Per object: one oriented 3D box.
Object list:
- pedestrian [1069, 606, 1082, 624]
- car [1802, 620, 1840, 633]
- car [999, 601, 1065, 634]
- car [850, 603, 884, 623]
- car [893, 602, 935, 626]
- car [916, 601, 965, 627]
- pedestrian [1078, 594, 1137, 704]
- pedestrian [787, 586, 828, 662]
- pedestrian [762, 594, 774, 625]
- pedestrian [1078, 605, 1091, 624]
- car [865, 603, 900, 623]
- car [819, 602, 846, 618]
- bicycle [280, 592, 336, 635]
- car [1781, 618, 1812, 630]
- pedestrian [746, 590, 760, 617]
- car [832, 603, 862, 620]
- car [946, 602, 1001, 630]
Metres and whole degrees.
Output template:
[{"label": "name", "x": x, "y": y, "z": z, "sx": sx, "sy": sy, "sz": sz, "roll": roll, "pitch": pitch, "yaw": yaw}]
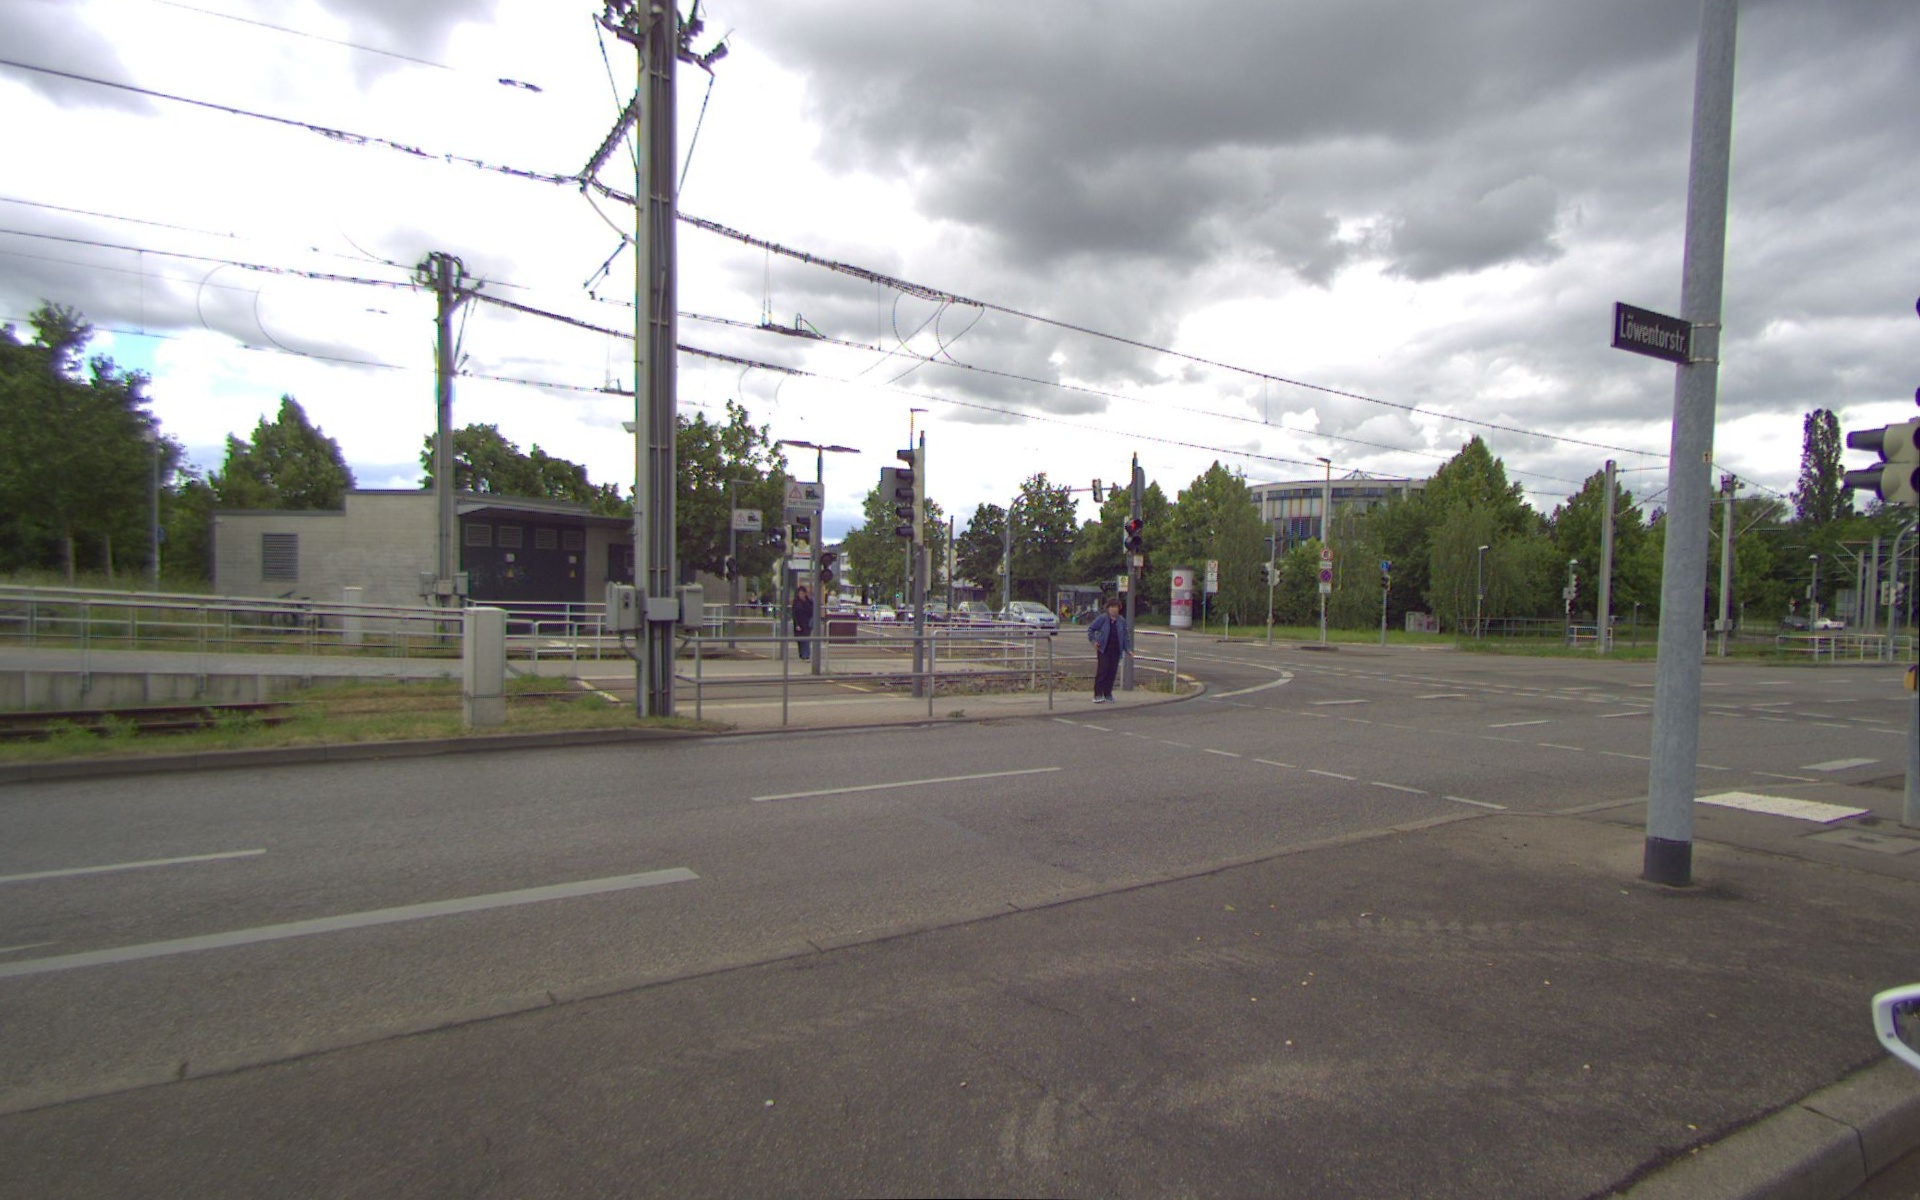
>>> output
[{"label": "pedestrian", "x": 8.385, "y": 1.078, "z": 72.859, "sx": 0.652, "sy": 1.321, "sz": 0.780, "roll": 1, "pitch": 0, "yaw": -16}, {"label": "car", "x": 115.627, "y": 3.545, "z": 134.890, "sx": 1.748, "sy": 1.567, "sz": 4.025, "roll": 1, "pitch": 0, "yaw": 2}, {"label": "car", "x": 3.311, "y": 0.799, "z": 46.813, "sx": 1.706, "sy": 1.456, "sz": 3.731, "roll": 1, "pitch": 0, "yaw": -20}, {"label": "car", "x": -7.409, "y": 1.019, "z": 79.688, "sx": 1.706, "sy": 1.456, "sz": 3.991, "roll": 1, "pitch": 0, "yaw": -20}, {"label": "car", "x": -2.995, "y": 0.886, "z": 64.935, "sx": 1.706, "sy": 1.456, "sz": 3.731, "roll": 1, "pitch": 0, "yaw": -20}, {"label": "car", "x": -1.141, "y": 0.814, "z": 58.168, "sx": 1.706, "sy": 1.456, "sz": 3.731, "roll": 1, "pitch": 0, "yaw": -20}, {"label": "pedestrian", "x": 2.189, "y": 0.705, "z": 14.912, "sx": 0.701, "sy": 1.584, "sz": 0.533, "roll": 1, "pitch": 1, "yaw": -44}, {"label": "pedestrian", "x": -3.322, "y": 0.511, "z": 21.870, "sx": 0.697, "sy": 1.628, "sz": 0.653, "roll": 1, "pitch": 0, "yaw": -28}, {"label": "pedestrian", "x": -12.549, "y": 0.613, "z": 65.617, "sx": 0.738, "sy": 1.993, "sz": 0.795, "roll": 1, "pitch": 0, "yaw": -9}, {"label": "pedestrian", "x": 8.896, "y": 1.061, "z": 71.637, "sx": 0.652, "sy": 1.322, "sz": 0.780, "roll": 1, "pitch": 0, "yaw": -16}, {"label": "car", "x": -5.803, "y": 0.960, "z": 74.785, "sx": 1.706, "sy": 1.456, "sz": 3.731, "roll": 1, "pitch": 0, "yaw": -20}, {"label": "car", "x": -11.922, "y": 0.958, "z": 94.076, "sx": 1.706, "sy": 1.456, "sz": 3.731, "roll": 1, "pitch": 0, "yaw": -20}, {"label": "bicycle", "x": -17.319, "y": 0.346, "z": 26.681, "sx": 1.452, "sy": 1.101, "sz": 0.492, "roll": 1, "pitch": 0, "yaw": 22}, {"label": "car", "x": 106.127, "y": 3.041, "z": 127.516, "sx": 1.752, "sy": 1.465, "sz": 4.525, "roll": -1, "pitch": 0, "yaw": 22}, {"label": "pedestrian", "x": -13.142, "y": 0.218, "z": 63.812, "sx": 0.771, "sy": 1.649, "sz": 0.660, "roll": 1, "pitch": 0, "yaw": -22}, {"label": "car", "x": -9.759, "y": 0.983, "z": 86.719, "sx": 1.706, "sy": 1.456, "sz": 3.731, "roll": 1, "pitch": 0, "yaw": -20}, {"label": "car", "x": 0.698, "y": 0.842, "z": 53.672, "sx": 1.706, "sy": 1.456, "sz": 3.731, "roll": 1, "pitch": 0, "yaw": -20}]
